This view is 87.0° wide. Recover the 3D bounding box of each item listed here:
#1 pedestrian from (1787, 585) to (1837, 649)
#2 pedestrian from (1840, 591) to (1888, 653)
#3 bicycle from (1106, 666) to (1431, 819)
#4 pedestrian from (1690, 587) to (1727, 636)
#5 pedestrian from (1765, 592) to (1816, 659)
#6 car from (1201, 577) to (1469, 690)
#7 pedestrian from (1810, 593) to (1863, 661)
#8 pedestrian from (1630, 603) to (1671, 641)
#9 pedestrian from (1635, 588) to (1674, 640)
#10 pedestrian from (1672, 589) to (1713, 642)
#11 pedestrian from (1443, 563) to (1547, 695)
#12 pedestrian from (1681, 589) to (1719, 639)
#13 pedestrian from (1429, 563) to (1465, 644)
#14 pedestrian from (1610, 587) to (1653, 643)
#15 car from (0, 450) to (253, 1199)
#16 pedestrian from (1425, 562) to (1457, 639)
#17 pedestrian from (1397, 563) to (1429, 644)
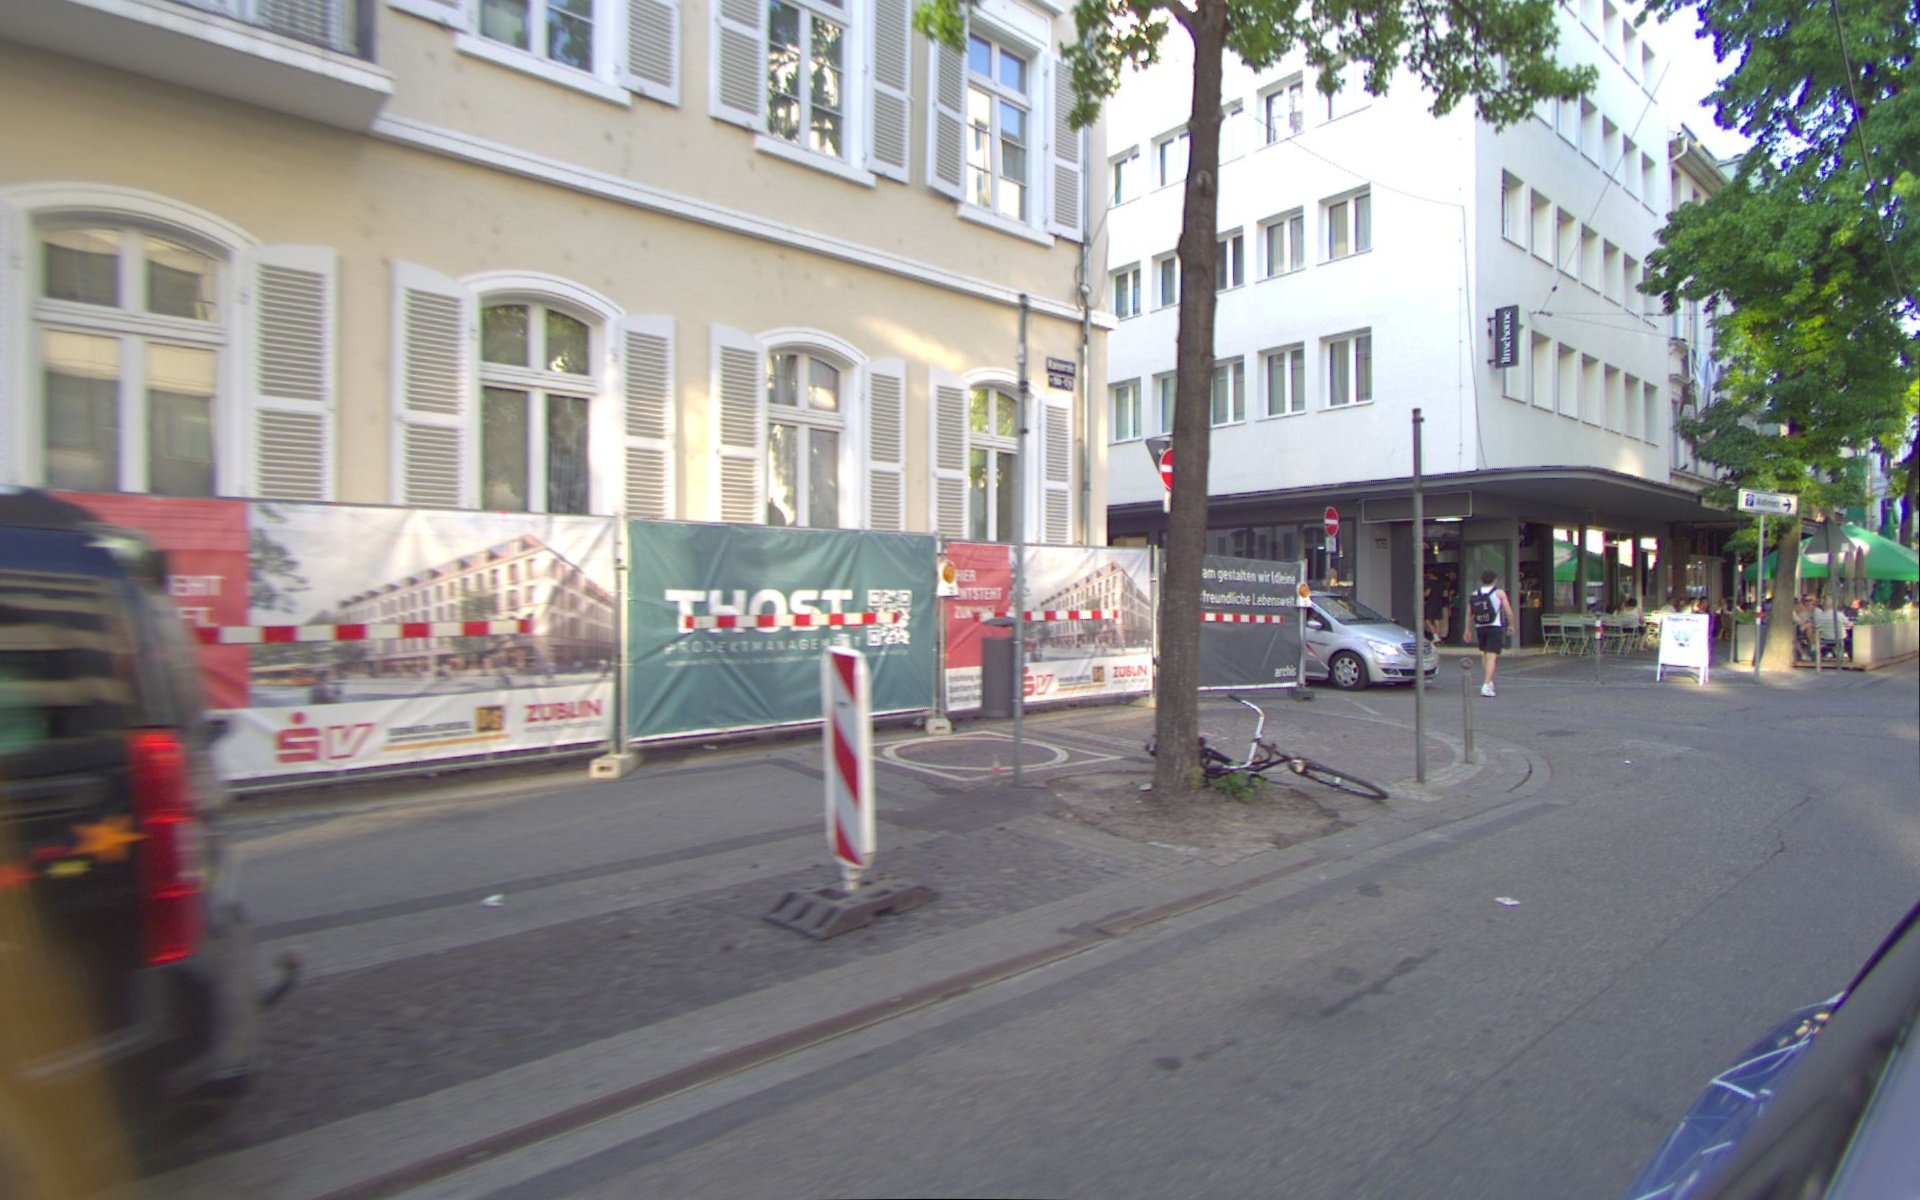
[{"bbox_3d":[18.256,0.353,21.692,0.613,1.346,0.716,0,0,-39],"label":"pedestrian"},{"bbox_3d":[20.082,0.469,22.480,0.613,1.346,0.716,0,0,-39],"label":"pedestrian"},{"bbox_3d":[2.209,0.974,7.521,1.531,0.757,1.761,0,2,-23],"label":"bicycle"},{"bbox_3d":[20.959,0.312,28.348,0.613,1.346,0.716,0,0,-39],"label":"pedestrian"},{"bbox_3d":[17.314,0.517,21.106,0.613,1.346,0.716,0,0,-39],"label":"pedestrian"},{"bbox_3d":[6.224,0.481,17.193,1.831,1.628,3.944,-2,2,-33],"label":"car"},{"bbox_3d":[17.766,0.522,20.514,0.613,1.346,0.716,0,0,-39],"label":"pedestrian"},{"bbox_3d":[17.305,0.544,25.369,0.613,0.944,0.716,0,0,-39],"label":"pedestrian"},{"bbox_3d":[18.346,0.366,26.725,0.613,1.346,0.716,0,0,-39],"label":"pedestrian"},{"bbox_3d":[18.870,0.388,26.076,0.613,1.346,0.716,0,0,-39],"label":"pedestrian"},{"bbox_3d":[7.927,0.398,15.002,1.050,1.837,0.946,-2,1,-33],"label":"pedestrian"},{"bbox_3d":[20.260,0.376,27.722,0.613,1.346,0.716,0,0,-39],"label":"pedestrian"},{"bbox_3d":[11.769,0.086,24.466,0.715,1.933,0.567,0,0,21],"label":"pedestrian"},{"bbox_3d":[16.313,0.349,24.587,0.613,1.346,0.716,0,0,-39],"label":"pedestrian"},{"bbox_3d":[-3.890,0.583,1.810,4.236,1.815,1.958,-1,2,-38],"label":"car"},{"bbox_3d":[11.260,0.010,23.718,0.616,1.788,0.712,0,0,20],"label":"pedestrian"},{"bbox_3d":[11.116,0.081,24.849,0.716,1.933,0.566,0,0,23],"label":"pedestrian"}]
